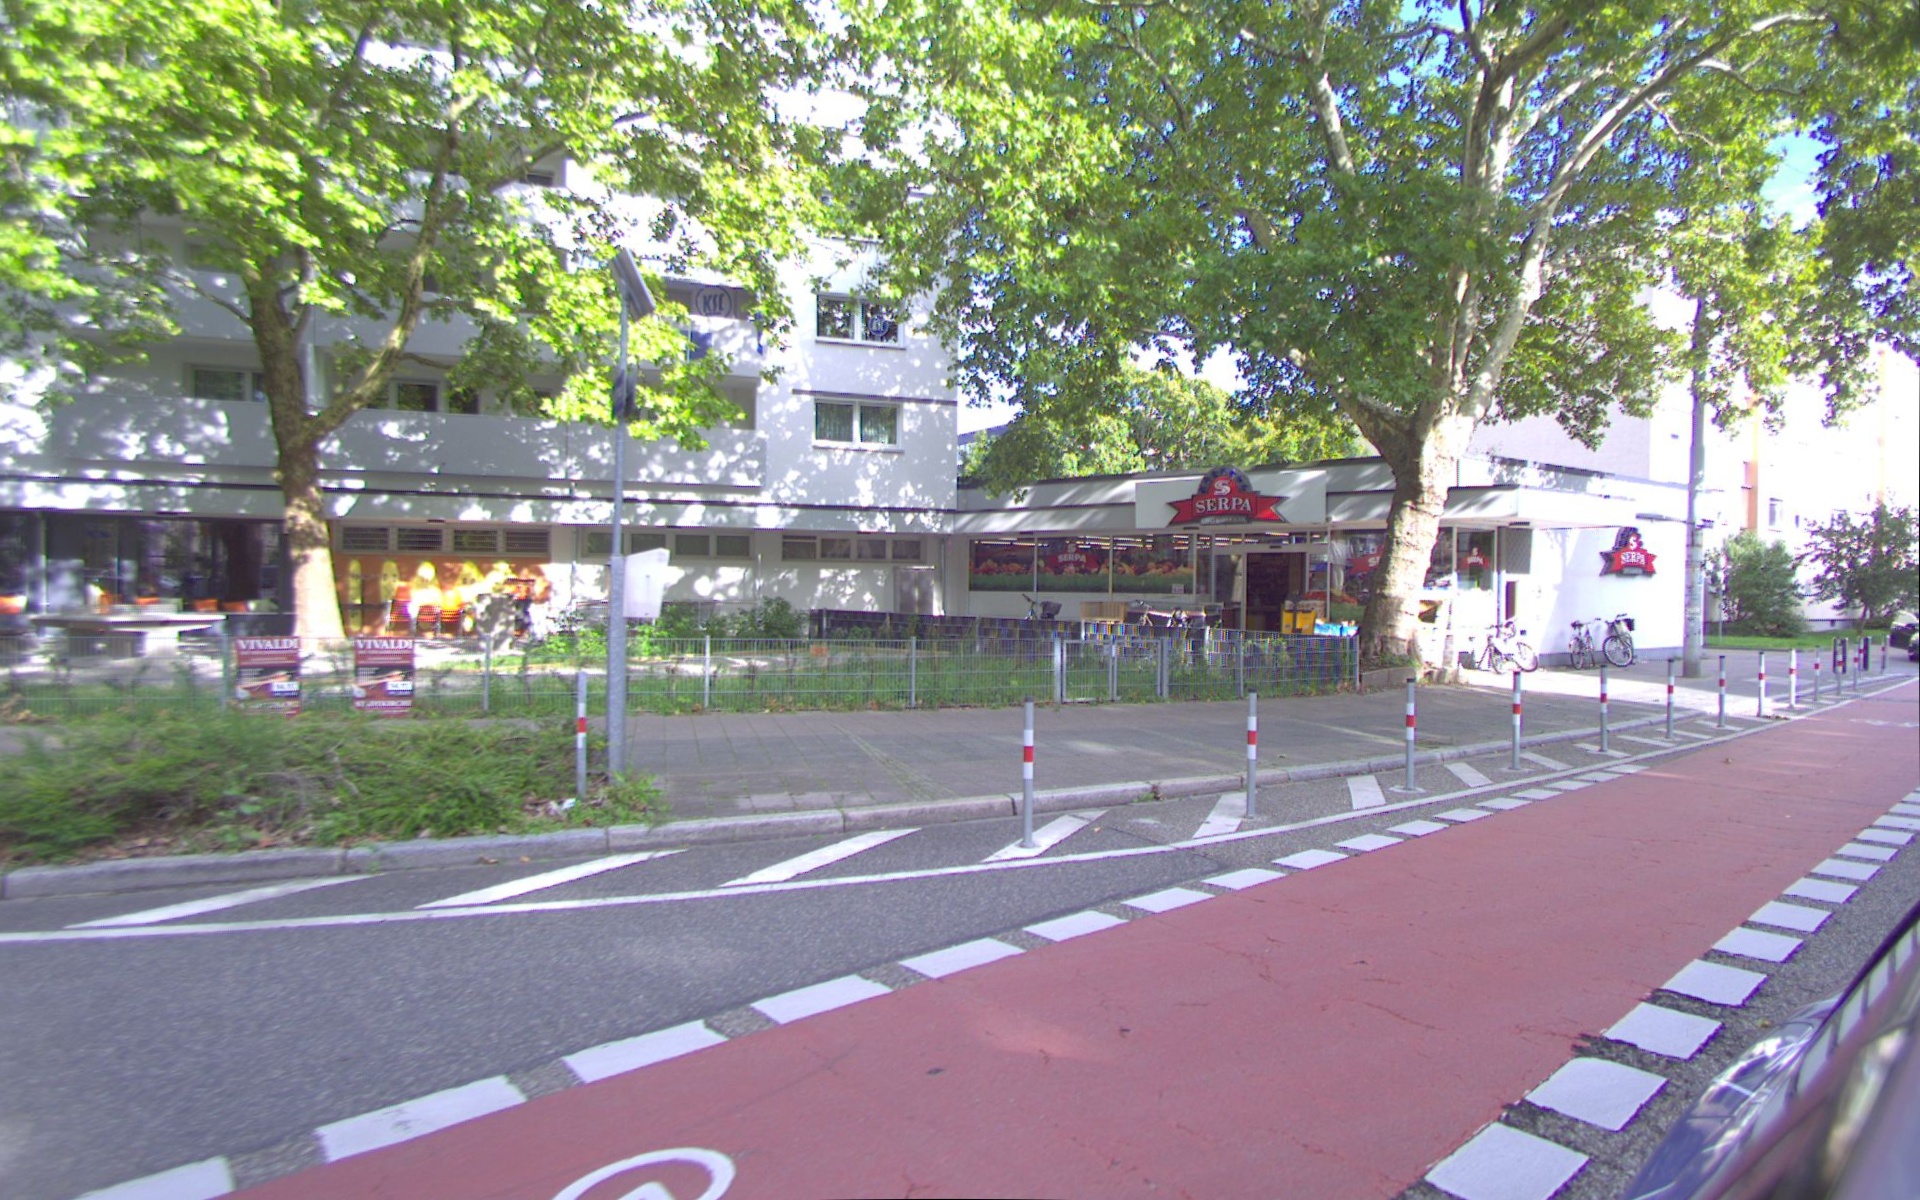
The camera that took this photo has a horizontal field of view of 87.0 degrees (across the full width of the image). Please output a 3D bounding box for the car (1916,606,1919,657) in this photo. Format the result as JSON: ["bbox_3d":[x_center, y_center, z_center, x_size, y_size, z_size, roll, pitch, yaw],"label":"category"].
[{"bbox_3d":[29.274,0.919,29.085,4.152,1.429,1.767,0,2,-35],"label":"car"}]

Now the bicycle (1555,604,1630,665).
[{"bbox_3d":[13.892,0.739,22.210,1.737,1.220,0.713,-1,4,-35],"label":"bicycle"}]

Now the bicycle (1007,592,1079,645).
[{"bbox_3d":[1.828,0.386,22.068,0.688,1.084,1.832,2,1,36],"label":"bicycle"}]

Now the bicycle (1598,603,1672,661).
[{"bbox_3d":[15.550,0.717,23.316,1.781,1.220,0.772,-1,4,-35],"label":"bicycle"}]

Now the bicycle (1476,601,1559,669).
[{"bbox_3d":[11.094,0.663,20.119,1.782,1.220,0.715,-1,4,-37],"label":"bicycle"}]

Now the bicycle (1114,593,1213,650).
[{"bbox_3d":[4.111,0.441,20.450,1.817,1.053,0.749,2,-5,-15],"label":"bicycle"}]
